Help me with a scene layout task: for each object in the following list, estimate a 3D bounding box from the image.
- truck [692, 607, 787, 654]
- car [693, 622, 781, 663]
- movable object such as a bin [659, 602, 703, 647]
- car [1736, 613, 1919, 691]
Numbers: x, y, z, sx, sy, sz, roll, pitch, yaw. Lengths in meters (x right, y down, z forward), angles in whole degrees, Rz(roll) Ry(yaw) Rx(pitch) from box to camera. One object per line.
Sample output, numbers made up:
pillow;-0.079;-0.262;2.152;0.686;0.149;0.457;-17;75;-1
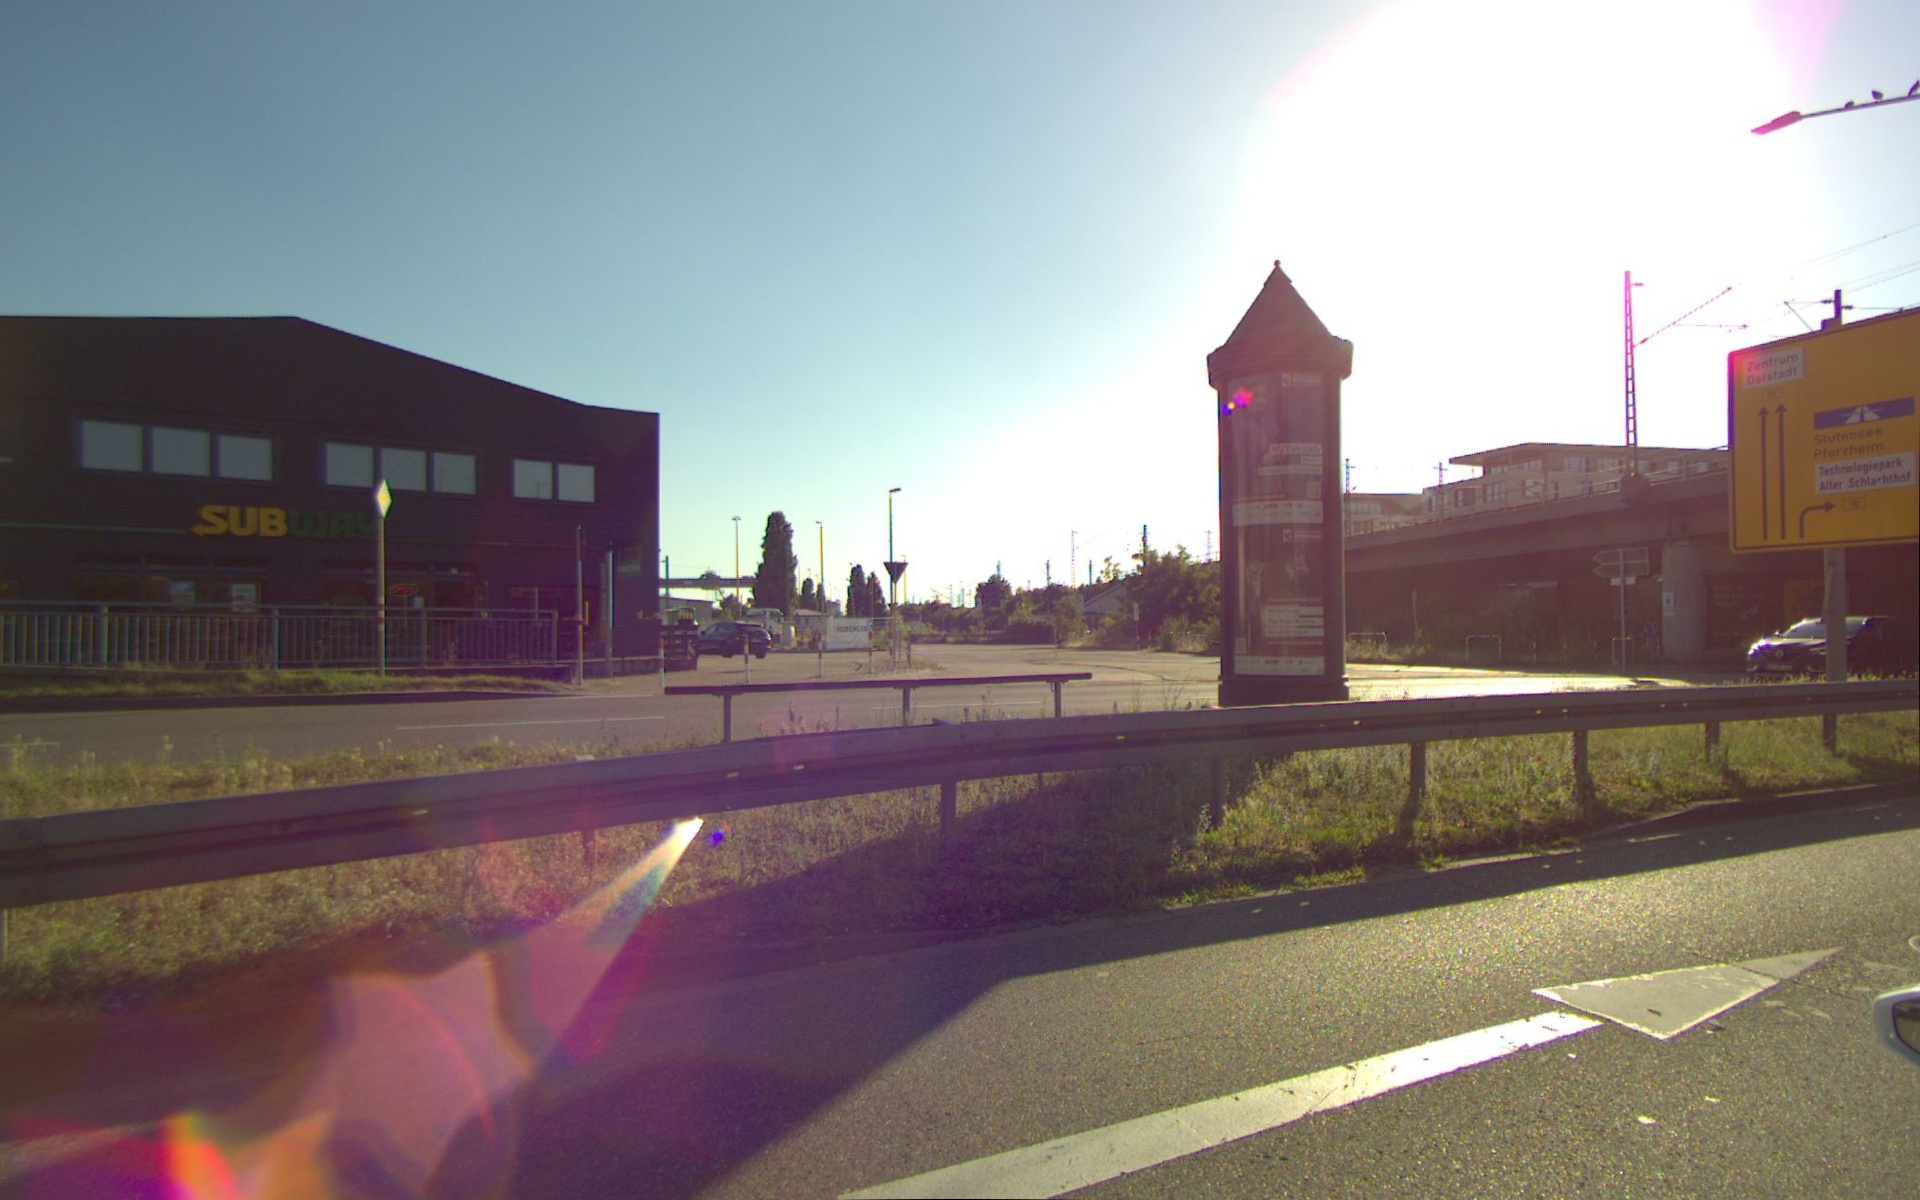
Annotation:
truck;-15.654;2.190;71.672;2.399;3.186;6.757;0;-2;35
car;-9.114;1.710;40.859;1.830;1.550;3.951;2;-2;-41
movable object such as a bin;-17.691;1.570;63.674;2.196;2.751;1.724;2;-1;-33
car;19.830;1.207;22.686;4.335;1.624;1.841;2;-5;-25
